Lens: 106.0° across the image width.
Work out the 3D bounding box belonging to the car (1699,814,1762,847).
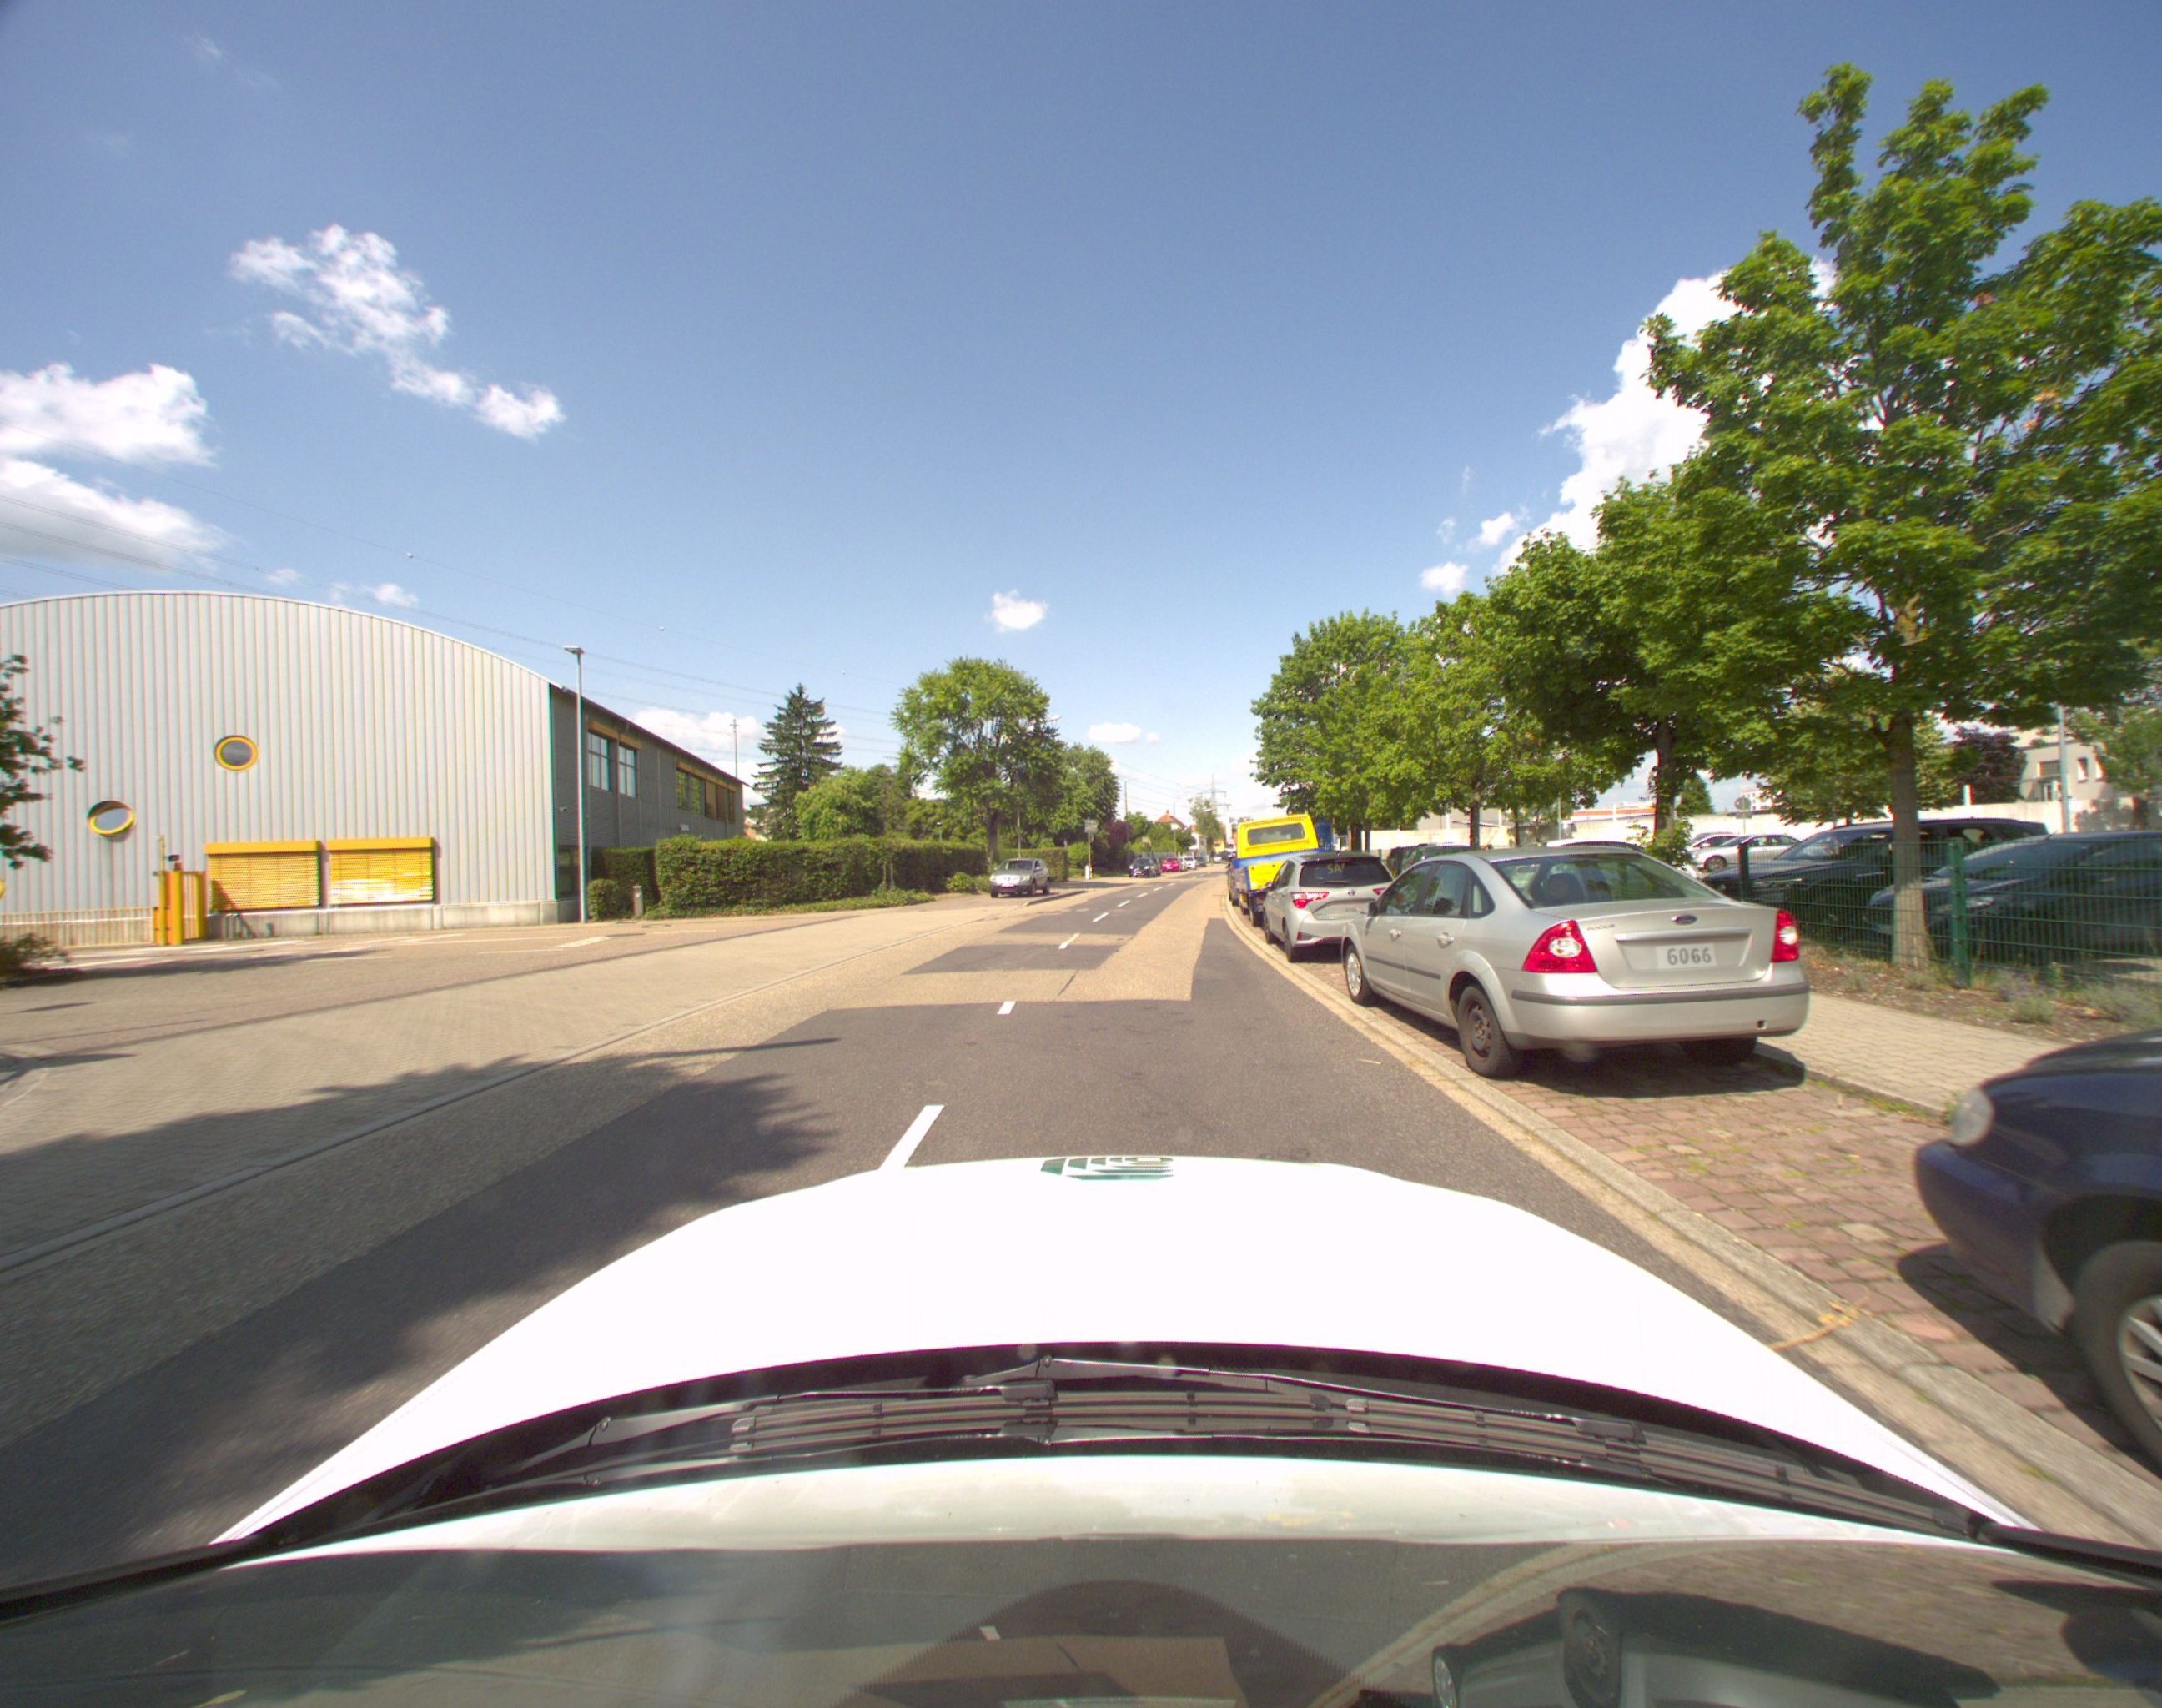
[{"bbox_3d":[34.993,-1.241,43.981,1.719,1.549,4.023,-3,-2,25],"label":"car"}]

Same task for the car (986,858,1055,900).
[{"bbox_3d":[-2.442,0.997,33.955,1.746,1.574,4.490,-1,-1,10],"label":"car"}]

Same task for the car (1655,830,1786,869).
[{"bbox_3d":[26.194,-0.181,33.507,3.724,1.396,2.022,-2,0,16],"label":"car"}]

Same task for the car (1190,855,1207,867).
[{"bbox_3d":[15.096,0.900,104.533,1.793,1.418,4.512,0,0,13],"label":"car"}]

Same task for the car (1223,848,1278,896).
[{"bbox_3d":[6.713,0.685,32.225,1.820,1.608,4.583,-6,-1,12],"label":"car"}]

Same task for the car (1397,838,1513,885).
[{"bbox_3d":[14.751,0.300,32.360,3.847,1.637,1.917,-3,-1,13],"label":"car"}]

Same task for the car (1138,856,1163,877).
[{"bbox_3d":[5.794,1.035,67.705,1.639,1.645,3.284,1,0,12],"label":"car"}]

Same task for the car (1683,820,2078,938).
[{"bbox_3d":[12.275,0.371,12.749,4.310,1.671,1.857,-1,-1,1],"label":"car"}]

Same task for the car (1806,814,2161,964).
[{"bbox_3d":[11.833,0.364,9.999,4.310,1.495,1.629,-4,-1,1],"label":"car"}]

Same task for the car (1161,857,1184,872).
[{"bbox_3d":[8.923,1.014,79.473,1.654,1.467,3.758,-1,-1,15],"label":"car"}]

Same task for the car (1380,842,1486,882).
[{"bbox_3d":[16.156,0.393,37.585,4.179,1.593,1.917,-3,-1,13],"label":"car"}]

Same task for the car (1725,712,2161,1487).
[{"bbox_3d":[3.289,0.489,0.454,1.843,1.765,5.079,-4,-1,2],"label":"car"}]

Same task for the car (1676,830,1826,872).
[{"bbox_3d":[25.237,-0.112,30.847,3.972,1.396,1.852,-2,0,17],"label":"car"}]

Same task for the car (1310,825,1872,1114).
[{"bbox_3d":[3.490,0.668,6.869,1.826,1.492,4.657,-4,-1,1],"label":"car"}]

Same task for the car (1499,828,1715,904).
[{"bbox_3d":[13.367,0.306,20.876,4.300,1.621,1.764,-3,-1,1],"label":"car"}]

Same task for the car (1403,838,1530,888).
[{"bbox_3d":[14.005,0.331,29.828,3.847,1.593,1.917,-3,-1,13],"label":"car"}]

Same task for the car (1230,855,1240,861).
[{"bbox_3d":[34.389,0.884,182.074,1.783,1.397,4.520,-1,-1,15],"label":"car"}]

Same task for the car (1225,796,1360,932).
[{"bbox_3d":[4.592,0.225,18.788,2.145,2.465,6.654,-4,-1,8],"label":"car"}]

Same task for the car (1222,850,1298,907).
[{"bbox_3d":[5.616,0.733,26.107,1.865,1.477,5.179,-5,-1,8],"label":"car"}]

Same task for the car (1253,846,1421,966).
[{"bbox_3d":[3.775,0.708,12.681,1.677,1.495,3.955,-4,-1,6],"label":"car"}]

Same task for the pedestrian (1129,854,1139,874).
[{"bbox_3d":[4.722,0.897,72.701,0.703,1.801,0.919,-2,-1,14],"label":"pedestrian"}]

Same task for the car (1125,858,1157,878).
[{"bbox_3d":[4.700,1.065,63.083,1.832,1.508,4.015,1,0,14],"label":"car"}]

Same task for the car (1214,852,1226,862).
[{"bbox_3d":[24.072,0.523,140.824,1.778,1.719,4.769,0,0,14],"label":"car"}]

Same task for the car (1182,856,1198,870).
[{"bbox_3d":[12.459,0.998,92.923,1.610,1.522,4.188,-2,0,11],"label":"car"}]

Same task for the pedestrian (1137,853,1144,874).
[{"bbox_3d":[5.337,0.827,72.642,0.447,1.894,0.680,-2,-1,14],"label":"pedestrian"}]

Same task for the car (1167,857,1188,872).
[{"bbox_3d":[10.022,1.040,84.077,1.633,1.477,4.043,-2,-1,13],"label":"car"}]
